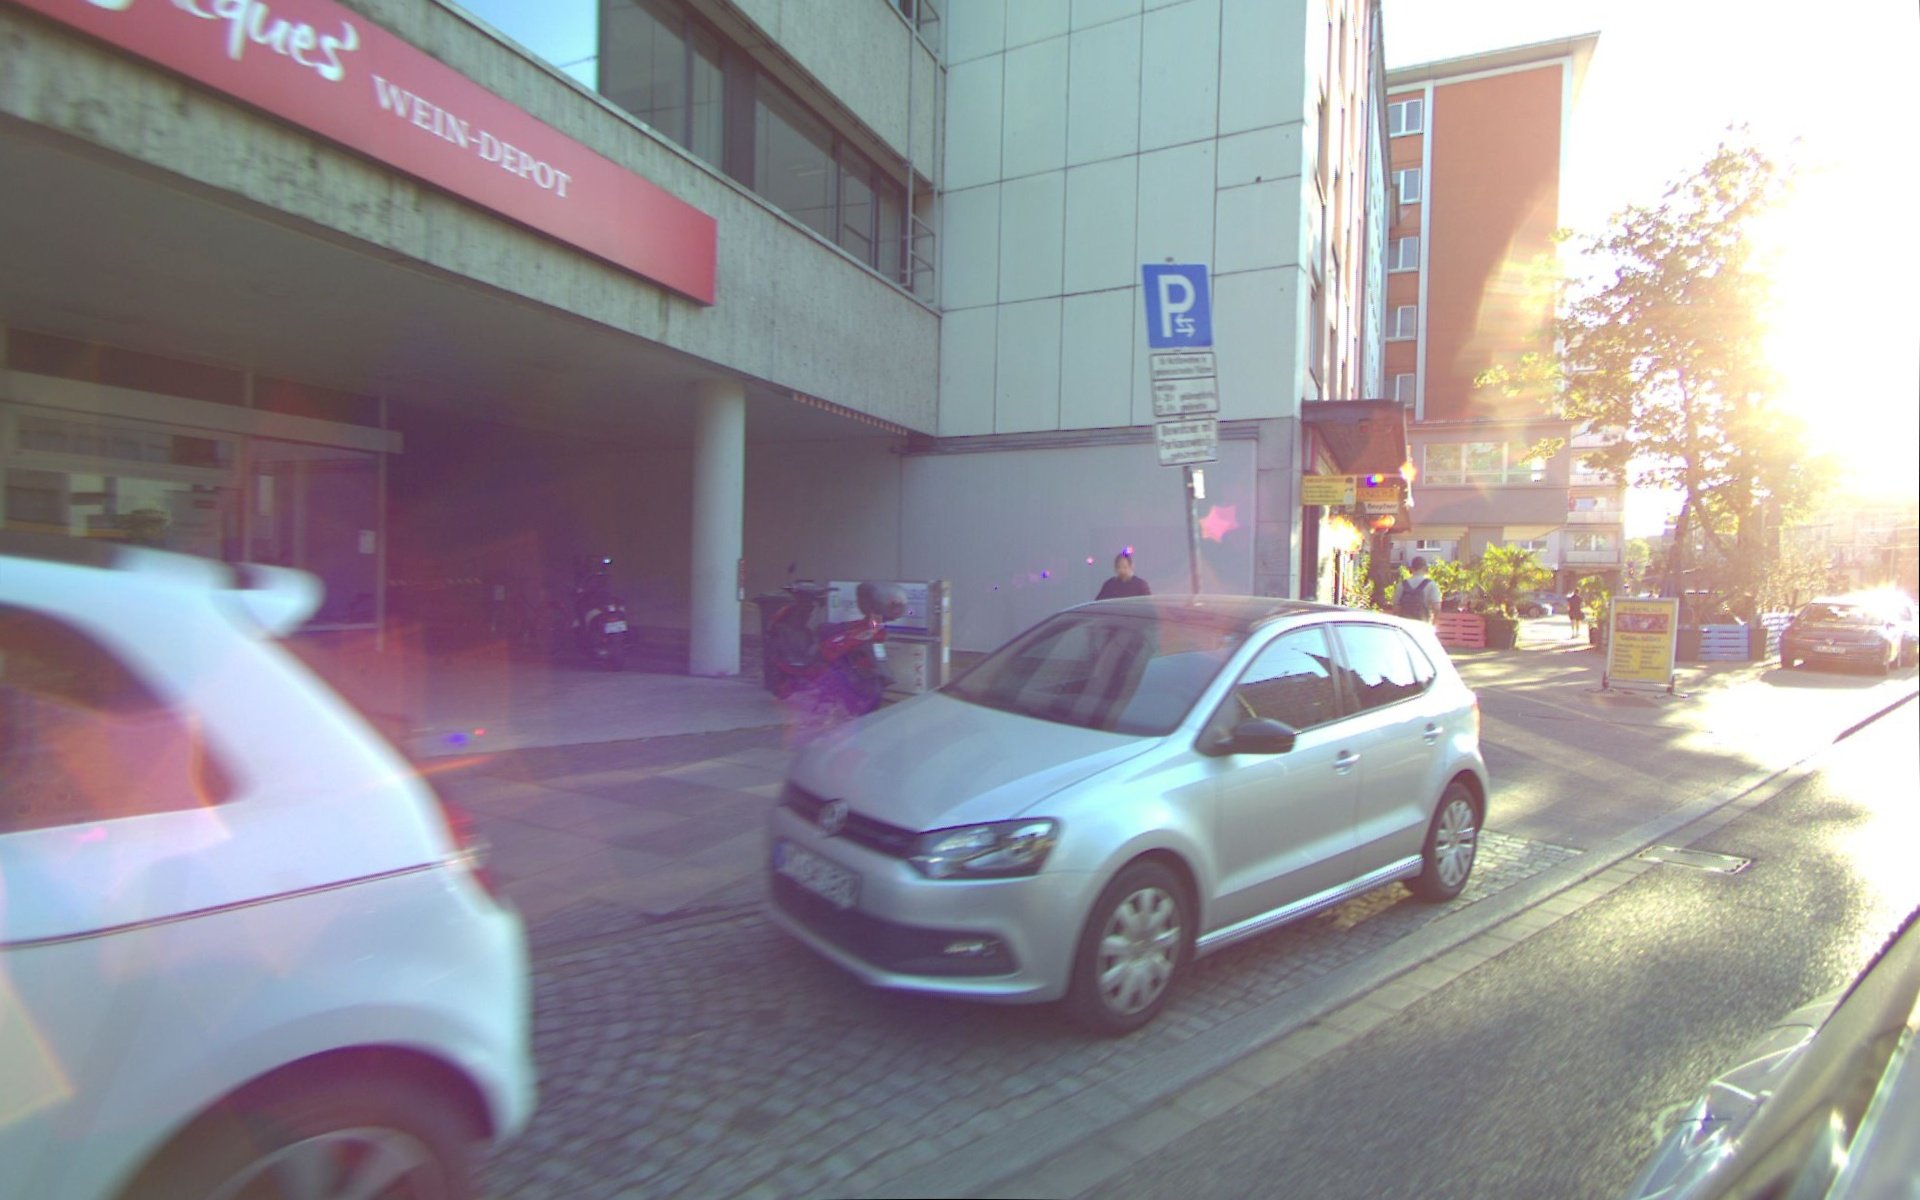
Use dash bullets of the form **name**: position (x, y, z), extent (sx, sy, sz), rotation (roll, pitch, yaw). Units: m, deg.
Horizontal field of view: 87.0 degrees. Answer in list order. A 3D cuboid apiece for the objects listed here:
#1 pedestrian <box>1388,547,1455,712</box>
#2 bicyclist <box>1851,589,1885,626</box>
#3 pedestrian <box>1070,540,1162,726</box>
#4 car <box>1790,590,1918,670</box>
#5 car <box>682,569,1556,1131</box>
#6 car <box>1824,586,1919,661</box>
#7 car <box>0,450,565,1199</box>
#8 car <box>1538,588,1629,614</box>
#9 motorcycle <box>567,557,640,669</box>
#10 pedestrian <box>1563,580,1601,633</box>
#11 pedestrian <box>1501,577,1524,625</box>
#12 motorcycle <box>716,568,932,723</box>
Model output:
- **pedestrian**: position (5.287, 0.315, 11.589), extent (0.634, 1.808, 0.849), rotation (1, 0, 25)
- **bicyclist**: position (37.165, 0.288, 41.426), extent (0.787, 1.499, 0.802), rotation (0, 0, 19)
- **pedestrian**: position (1.474, 0.289, 9.520), extent (0.634, 1.648, 0.849), rotation (0, 0, 25)
- **car**: position (19.137, 0.578, 21.601), extent (3.997, 1.554, 1.652), rotation (0, 0, -43)
- **car**: position (0.963, 0.626, 4.617), extent (3.929, 1.474, 1.789), rotation (0, 2, -40)
- **car**: position (22.844, 0.529, 25.079), extent (4.734, 1.691, 1.805), rotation (0, 0, -45)
- **car**: position (-2.650, 0.578, 1.396), extent (3.605, 1.611, 1.586), rotation (0, 0, -43)
- **car**: position (41.729, 0.026, 67.866), extent (4.998, 1.454, 1.861), rotation (3, 3, 29)
- **motorcycle**: position (-4.520, 0.123, 12.758), extent (0.655, 1.309, 1.800), rotation (1, 1, -25)
- **pedestrian**: position (21.279, 0.212, 34.616), extent (0.882, 1.747, 0.769), rotation (2, 0, 18)
- **pedestrian**: position (20.448, 0.034, 37.451), extent (0.649, 1.746, 0.870), rotation (0, 0, 24)
- **motorcycle**: position (-1.322, 0.349, 9.435), extent (2.275, 1.204, 0.694), rotation (4, 5, 42)
